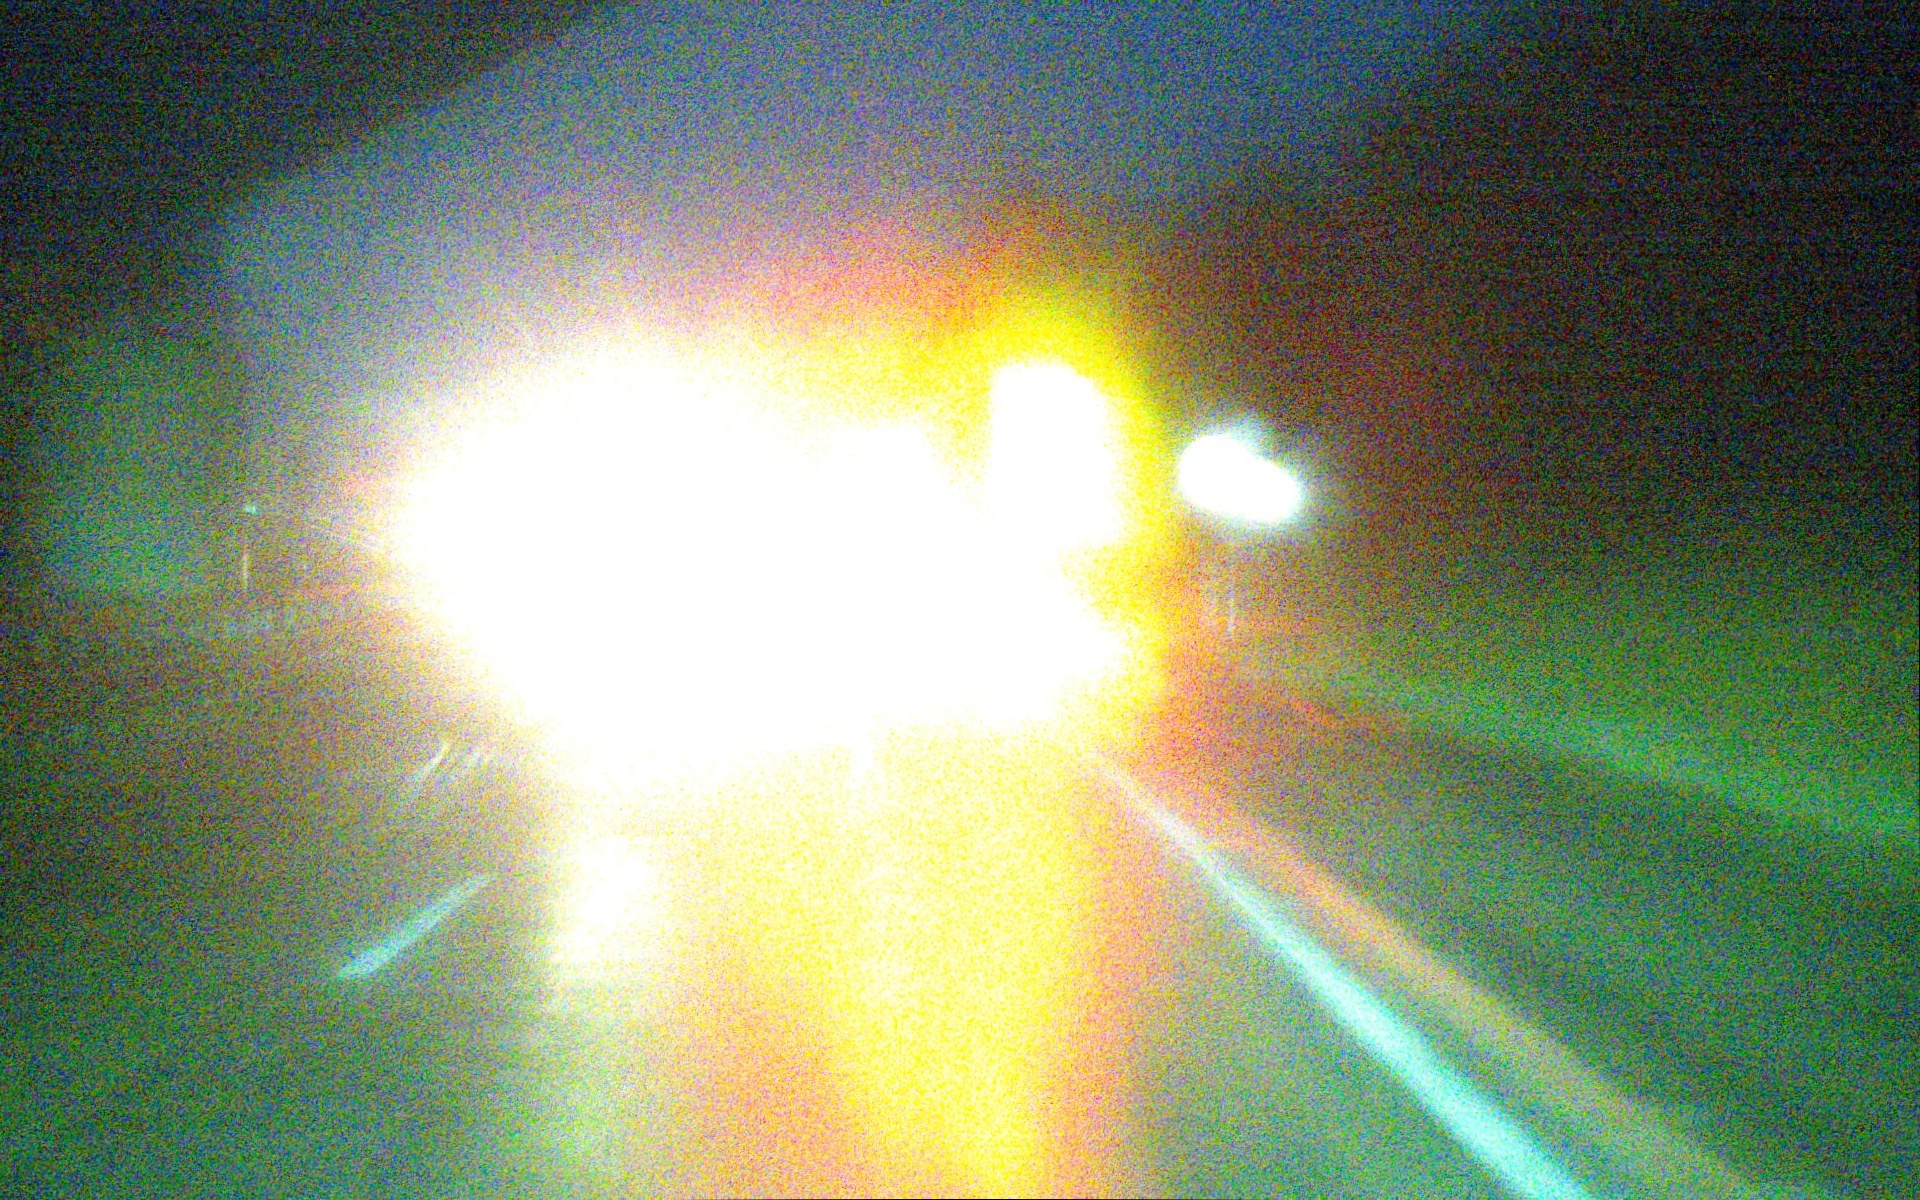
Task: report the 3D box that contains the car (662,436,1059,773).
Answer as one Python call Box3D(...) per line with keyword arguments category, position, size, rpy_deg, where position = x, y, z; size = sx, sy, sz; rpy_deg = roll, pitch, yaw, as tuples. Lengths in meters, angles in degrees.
Box3D(category="car", position=(-0.810, -0.013, 26.556), size=(2.715, 2.300, 6.101), rpy_deg=(0, 1, -3))

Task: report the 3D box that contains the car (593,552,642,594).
Box3D(category="car", position=(-13.609, -1.089, 136.701), size=(1.862, 1.539, 4.230), rpy_deg=(-1, 2, -5))

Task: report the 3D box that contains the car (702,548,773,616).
Box3D(category="car", position=(-6.680, -0.545, 103.058), size=(1.993, 1.908, 4.001), rpy_deg=(3, 0, -4))
